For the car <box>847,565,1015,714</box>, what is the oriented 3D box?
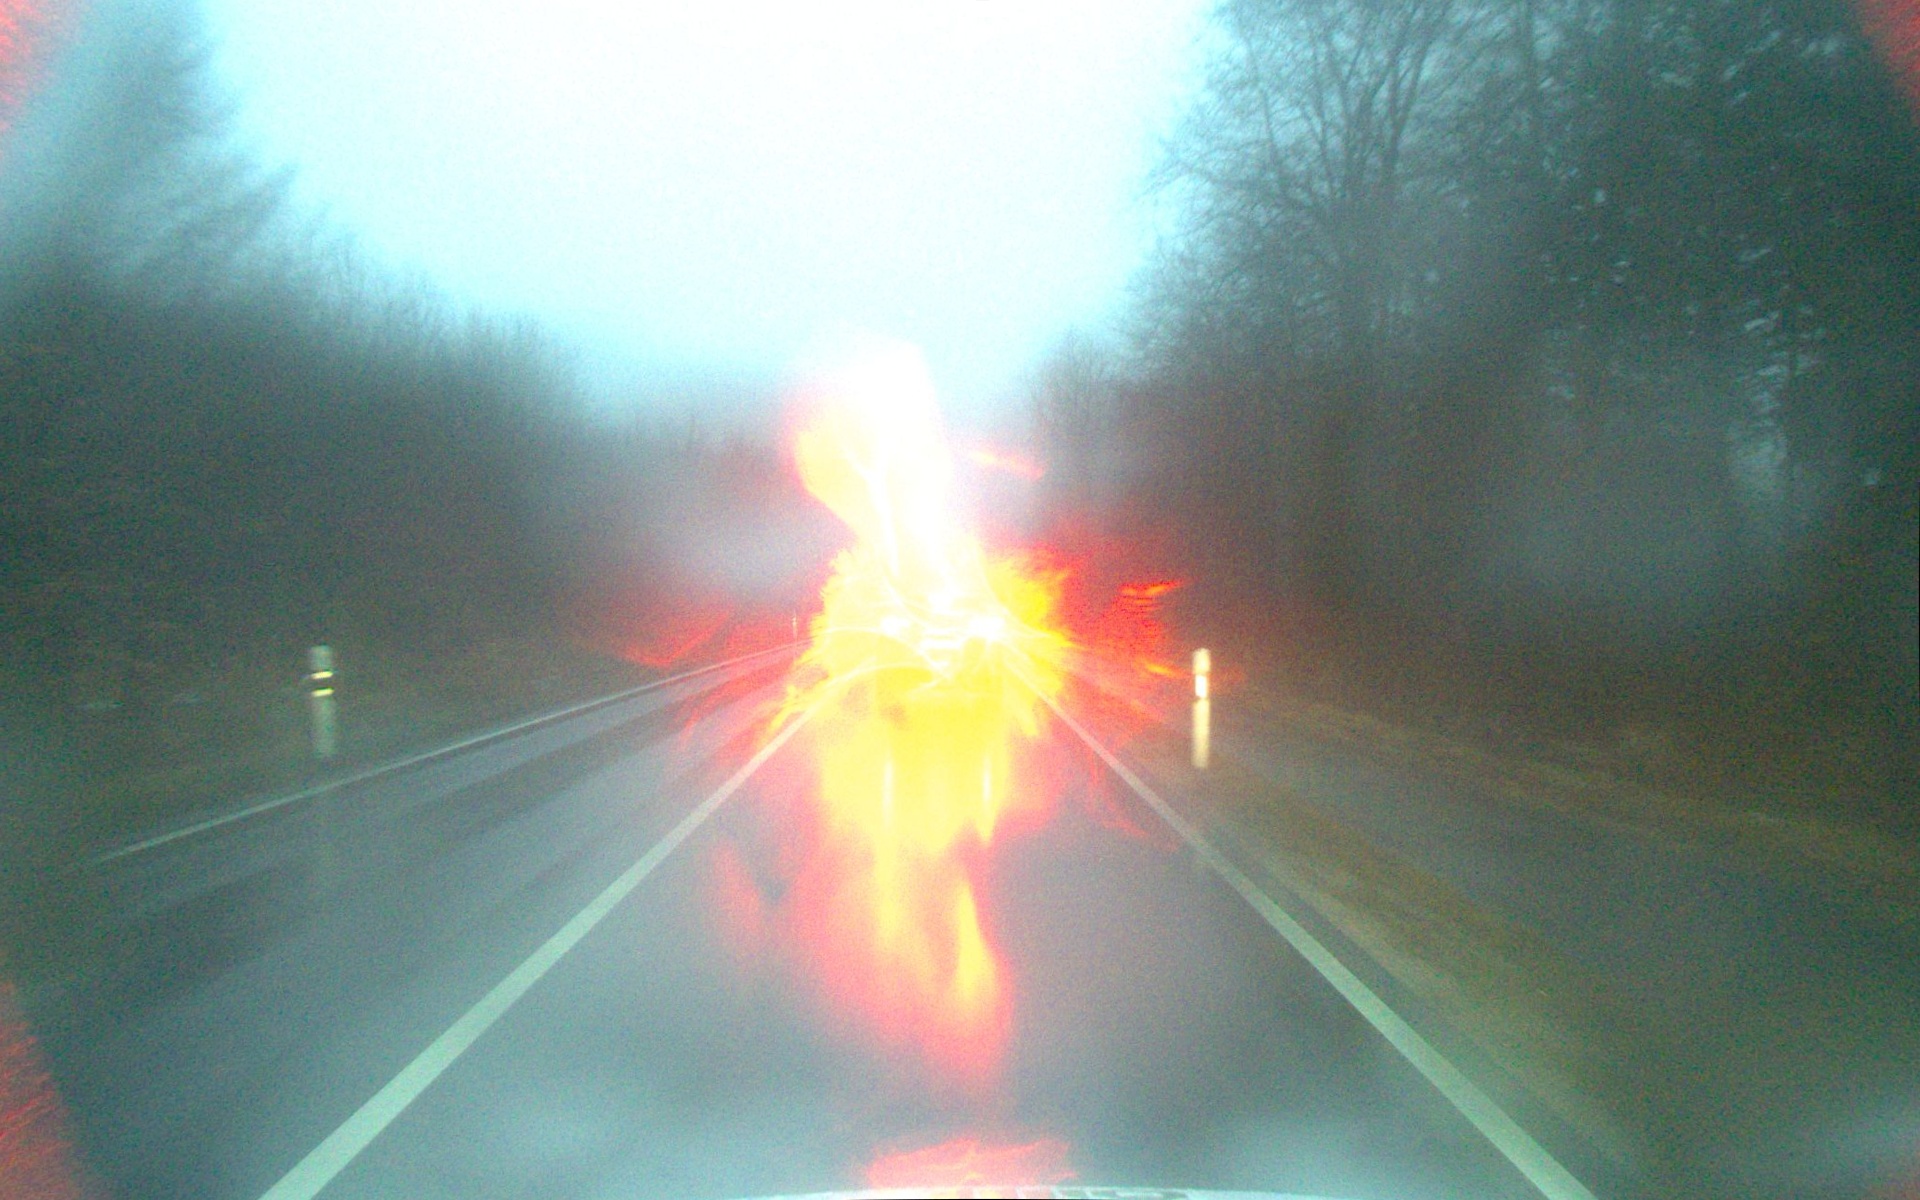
[{"bbox_3d":[-0.428,0.516,24.124,2.153,1.910,4.826,1,0,-1],"label":"car"}]
